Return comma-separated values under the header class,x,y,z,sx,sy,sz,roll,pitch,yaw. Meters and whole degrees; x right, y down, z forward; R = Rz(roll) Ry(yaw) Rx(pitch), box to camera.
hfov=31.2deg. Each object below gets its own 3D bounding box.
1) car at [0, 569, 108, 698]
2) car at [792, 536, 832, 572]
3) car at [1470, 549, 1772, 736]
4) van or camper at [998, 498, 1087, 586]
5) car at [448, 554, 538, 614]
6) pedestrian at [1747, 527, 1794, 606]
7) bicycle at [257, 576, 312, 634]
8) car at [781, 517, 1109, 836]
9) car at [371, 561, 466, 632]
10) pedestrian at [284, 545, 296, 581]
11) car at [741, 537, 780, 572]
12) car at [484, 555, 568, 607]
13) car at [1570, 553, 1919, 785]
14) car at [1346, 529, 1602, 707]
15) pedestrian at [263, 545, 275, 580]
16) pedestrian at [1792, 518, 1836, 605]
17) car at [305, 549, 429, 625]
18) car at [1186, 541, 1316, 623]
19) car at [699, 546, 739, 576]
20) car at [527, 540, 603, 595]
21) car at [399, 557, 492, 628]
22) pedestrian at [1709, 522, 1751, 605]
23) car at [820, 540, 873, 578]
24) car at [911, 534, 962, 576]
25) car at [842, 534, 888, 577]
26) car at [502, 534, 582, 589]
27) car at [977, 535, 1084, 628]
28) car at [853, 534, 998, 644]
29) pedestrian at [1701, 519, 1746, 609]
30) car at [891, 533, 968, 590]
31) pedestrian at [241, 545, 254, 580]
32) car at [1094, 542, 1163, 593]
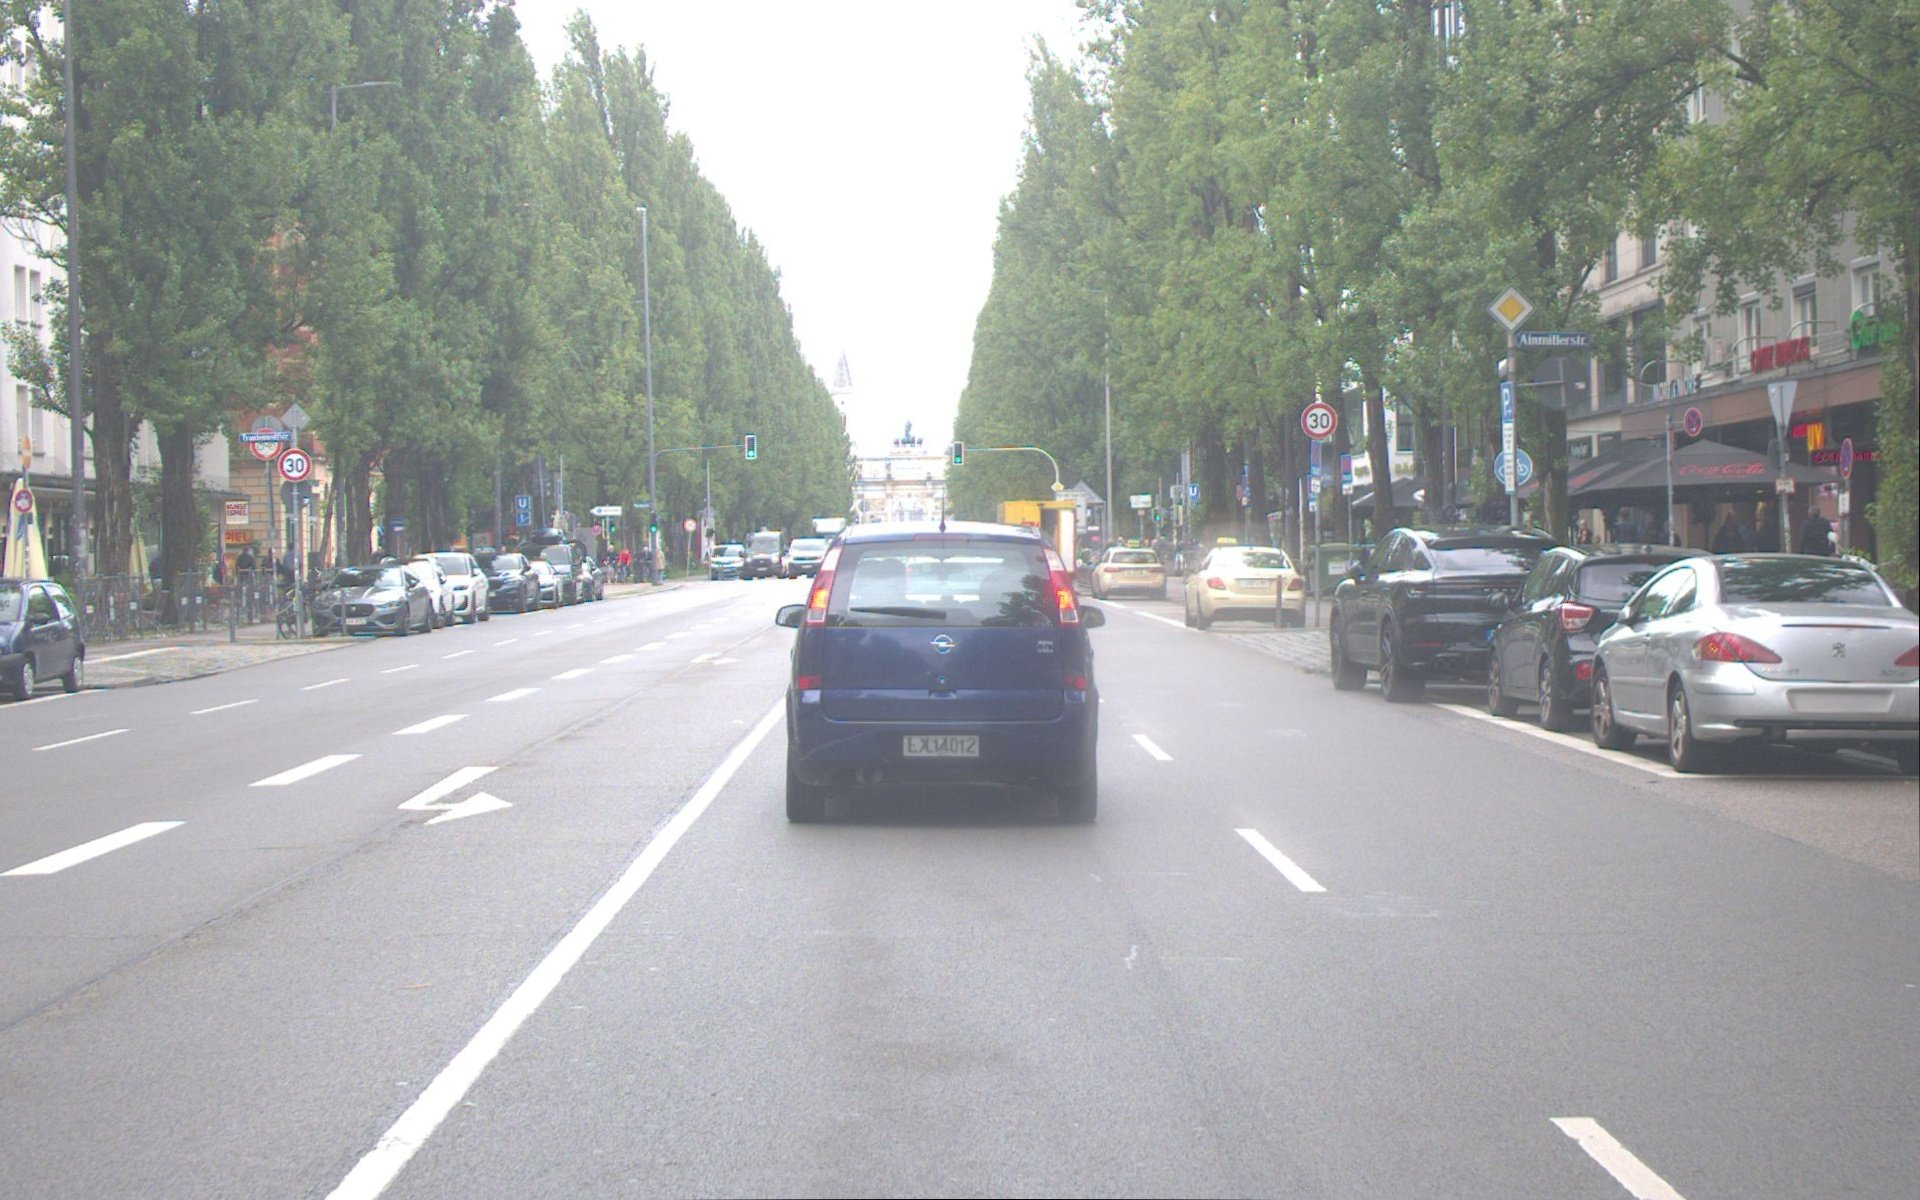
class,x,y,z,sx,sy,sz,roll,pitch,yaw
car,-11.458,0.374,41.102,1.586,1.442,3.391,-1,1,2
car,-7.077,-2.194,164.473,1.835,1.671,3.779,-1,1,-1
car,5.344,0.300,28.220,1.681,1.410,3.583,1,1,-2
van or camper,2.487,-1.783,105.090,2.476,2.572,5.844,-1,1,0
car,-12.341,-0.445,91.077,1.961,1.525,4.000,-1,1,-2
pedestrian,15.137,-0.624,64.212,0.684,1.464,0.678,-1,1,0
bicycle,-12.338,0.080,62.838,0.665,1.002,2.462,-1,1,-4
car,-0.136,0.355,19.642,1.681,1.635,4.000,0,1,-2
car,-11.691,-0.098,74.372,1.547,1.448,3.458,-1,1,-1
pedestrian,-20.649,-1.148,106.006,0.289,1.086,0.258,-1,1,5
car,-10.202,-2.344,176.250,1.835,1.733,3.779,-1,1,-1
car,-12.254,-0.555,97.316,1.961,1.394,3.779,-1,1,-1
car,5.393,0.402,23.290,1.670,1.401,4.128,1,1,-2
car,4.887,0.129,33.219,1.797,1.588,4.104,1,1,0
pedestrian,-21.290,-1.153,105.885,0.289,1.086,0.258,-1,1,5
pedestrian,15.190,-0.690,61.148,0.640,1.521,0.484,-1,1,0
car,-11.758,-0.277,68.378,1.830,1.415,3.811,-1,1,-1
car,5.066,-0.341,60.348,1.897,1.358,3.900,-1,1,0
car,-13.173,-2.138,188.287,1.961,1.543,3.779,-1,1,-1
car,-12.406,-1.039,108.128,1.993,1.656,4.000,-1,1,-1
car,-11.831,-0.183,79.272,1.654,1.556,3.458,-1,1,-1
pedestrian,14.155,-0.676,63.235,0.640,1.521,0.484,-1,1,0
car,-4.297,-1.570,131.008,1.961,1.394,3.779,-1,1,-1
car,-0.979,-1.831,139.944,1.961,1.671,3.779,-1,1,-1
car,-3.960,-1.869,143.514,1.835,1.755,3.779,-1,1,-1
car,-12.351,-1.153,101.741,1.961,1.543,3.779,-1,1,-1
car,1.237,-0.354,61.799,1.706,1.568,4.000,-1,1,-1
car,-0.536,-0.192,49.955,1.993,1.492,4.000,-1,1,-2
pedestrian,13.116,-0.616,59.042,0.640,1.521,0.484,-1,1,0
car,-0.857,-1.053,93.567,1.993,1.492,4.000,-1,1,-2
pedestrian,-22.099,-1.168,106.644,0.289,1.086,0.258,-1,1,5
car,4.632,-0.901,94.902,1.669,1.348,4.104,-1,1,0
